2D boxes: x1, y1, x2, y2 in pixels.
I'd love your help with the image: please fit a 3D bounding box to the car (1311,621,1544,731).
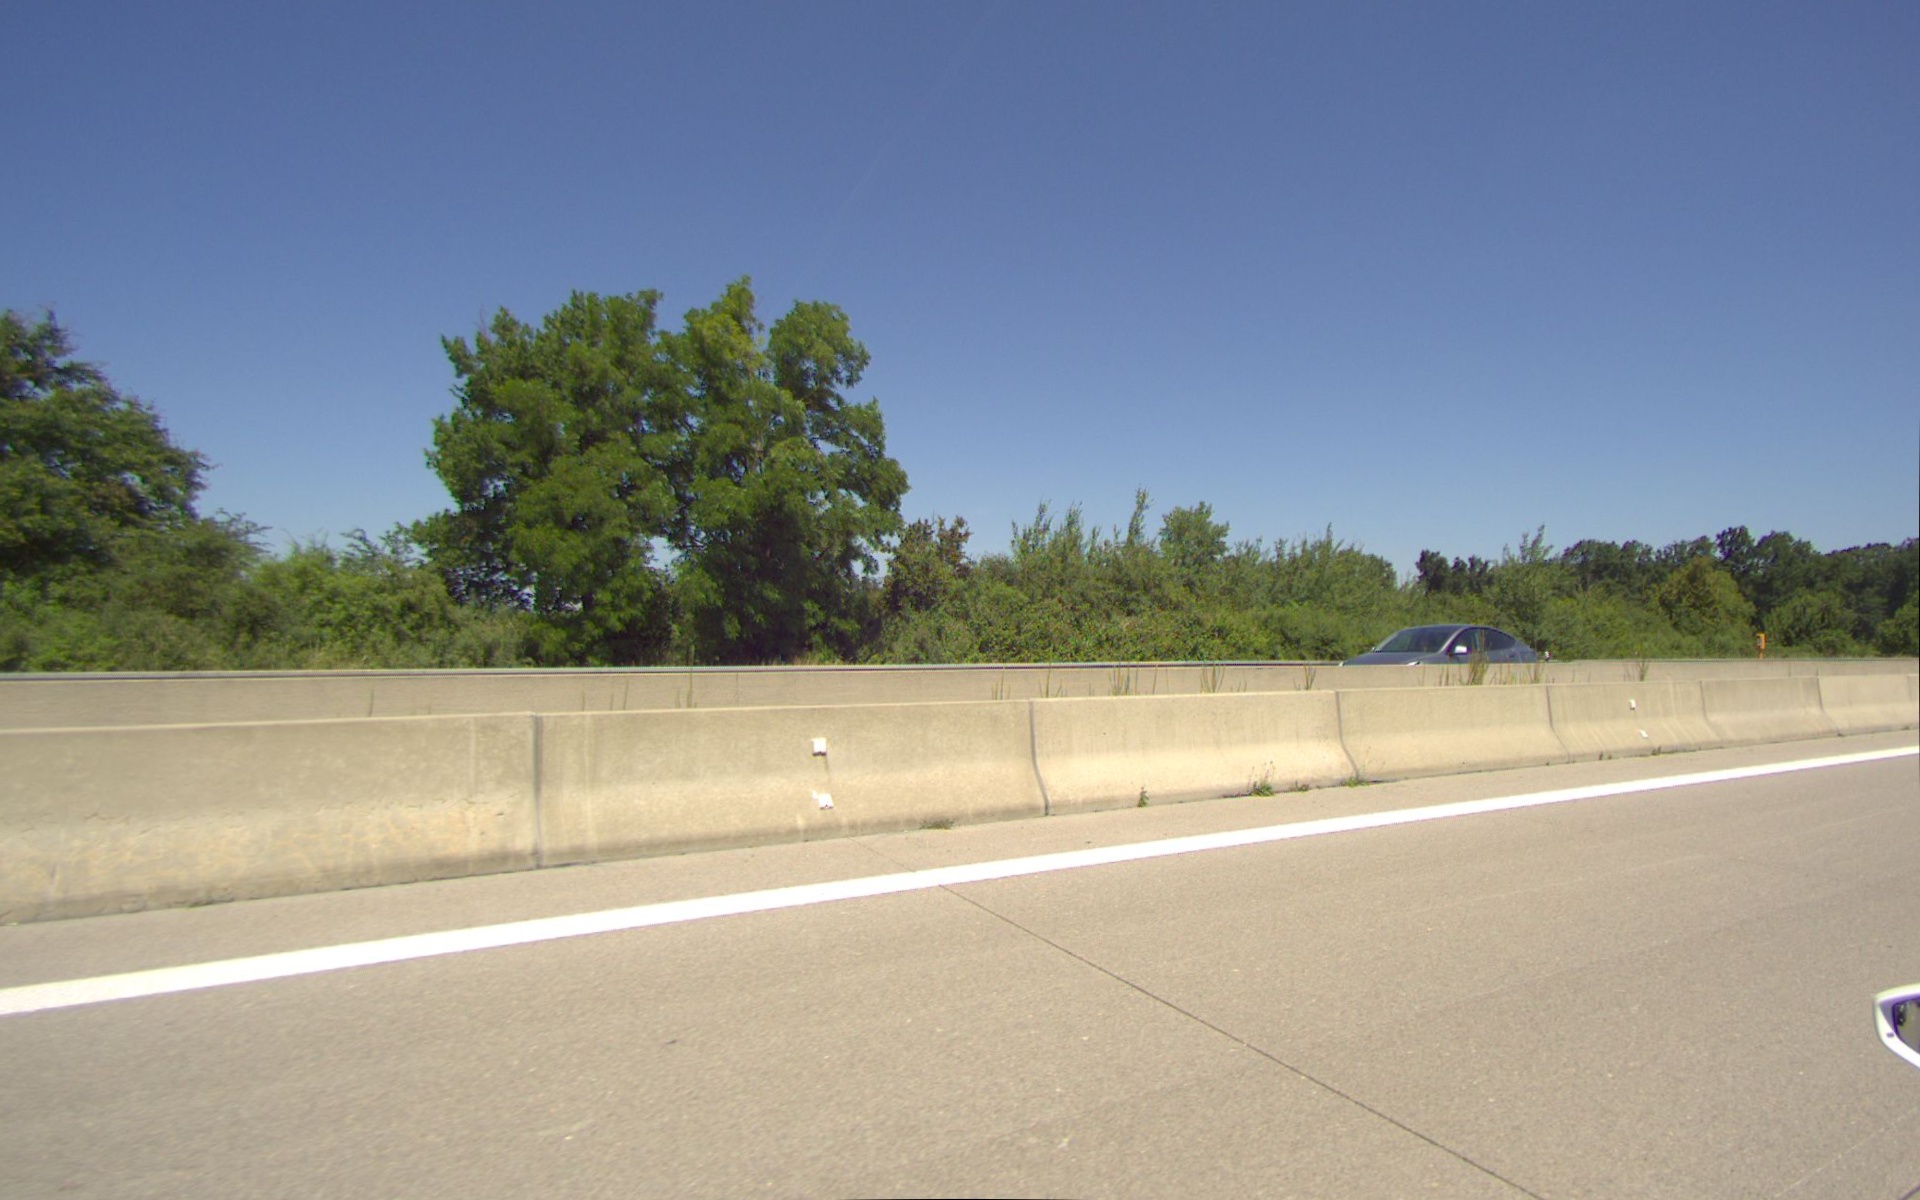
[{"bbox_3d":[8.918,1.357,19.095,4.346,1.818,1.919,1,0,-31],"label":"car"}]
